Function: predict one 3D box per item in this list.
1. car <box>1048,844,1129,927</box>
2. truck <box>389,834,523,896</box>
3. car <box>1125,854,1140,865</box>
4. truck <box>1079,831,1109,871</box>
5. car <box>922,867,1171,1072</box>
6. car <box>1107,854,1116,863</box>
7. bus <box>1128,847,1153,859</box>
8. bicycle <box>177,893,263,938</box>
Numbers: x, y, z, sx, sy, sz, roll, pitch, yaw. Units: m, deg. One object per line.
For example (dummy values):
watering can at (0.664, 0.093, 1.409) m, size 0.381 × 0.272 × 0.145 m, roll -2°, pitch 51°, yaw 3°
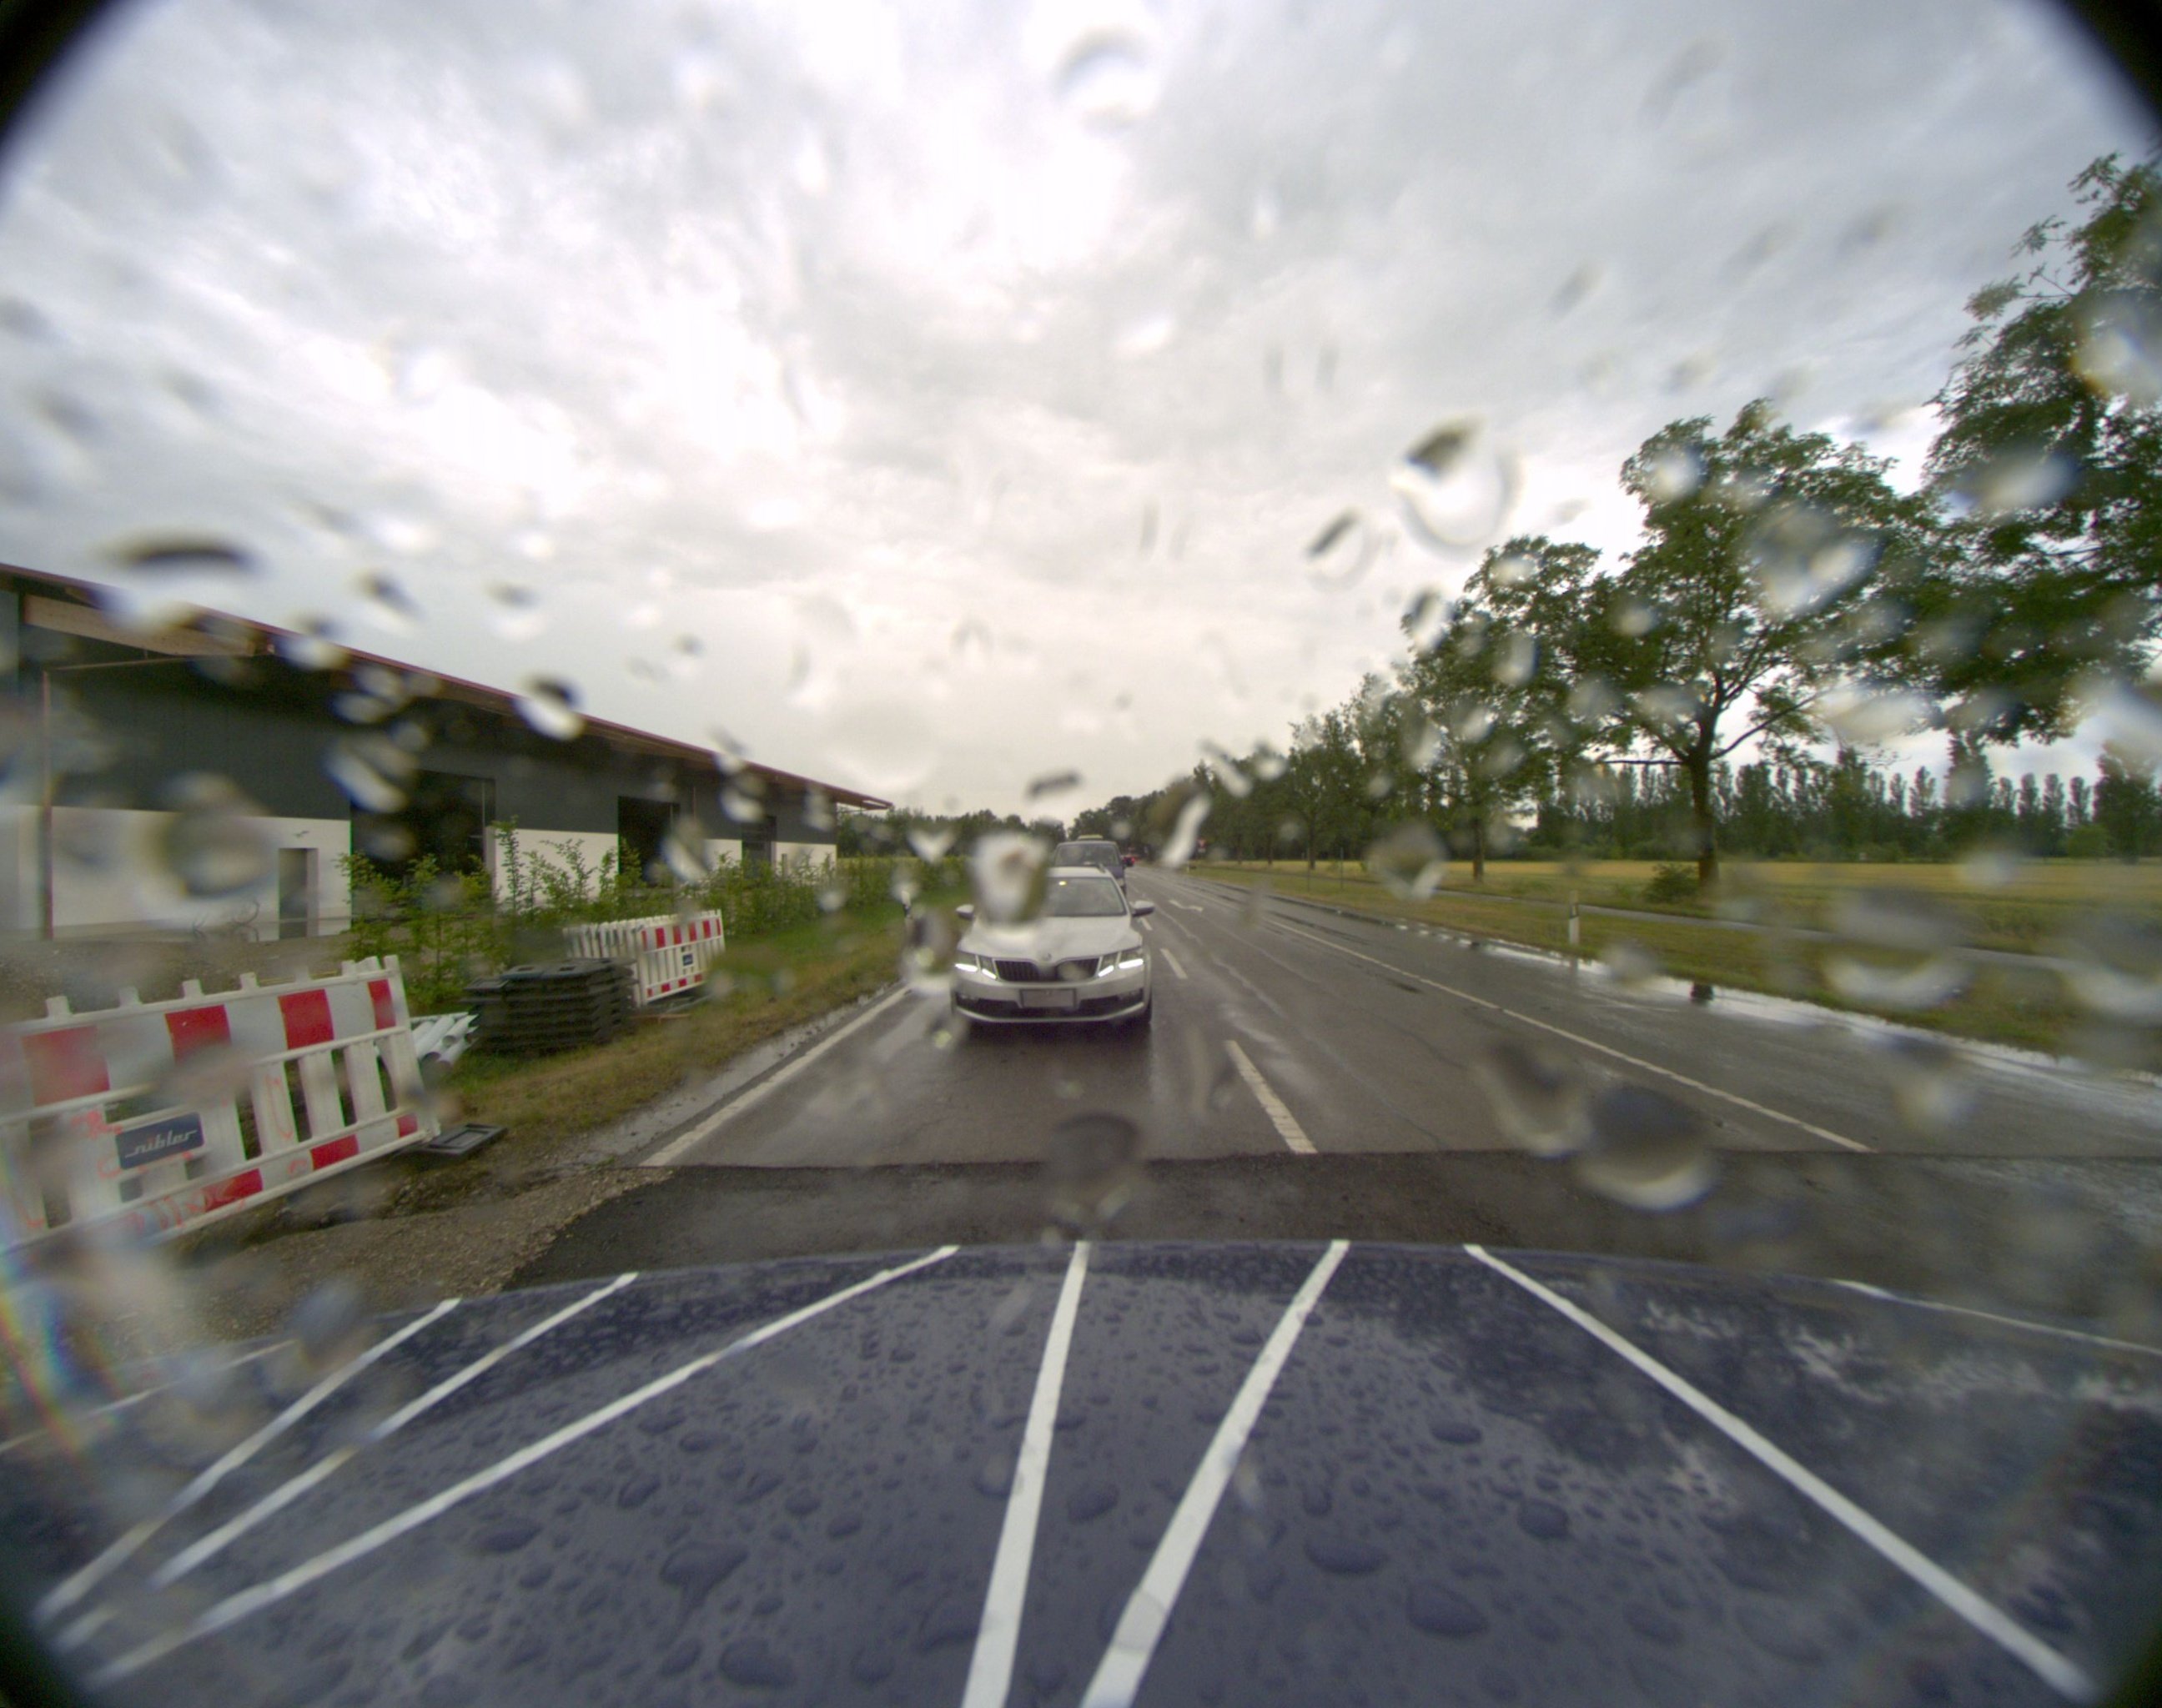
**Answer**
car at (0.207, 0.720, 19.821) m, size 1.892 × 1.939 × 4.000 m, roll 0°, pitch 0°, yaw 1°
truck at (-32.427, 0.521, 39.693) m, size 2.496 × 2.996 × 5.344 m, roll 0°, pitch 0°, yaw 1°
car at (6.881, 0.679, 101.028) m, size 1.724 × 1.396 × 4.043 m, roll 1°, pitch 0°, yaw 0°
truck at (1.360, -0.316, 80.962) m, size 2.931 × 3.828 × 14.120 m, roll 0°, pitch 0°, yaw 1°
car at (-0.232, 0.925, 8.072) m, size 1.843 × 1.379 × 4.569 m, roll -2°, pitch 1°, yaw 1°
car at (5.866, 0.764, 145.460) m, size 1.708 × 1.661 × 4.156 m, roll 1°, pitch 0°, yaw 2°
bus at (15.013, -0.350, 190.779) m, size 2.953 × 2.895 × 12.493 m, roll 1°, pitch 1°, yaw 20°
bicycle at (-23.119, 1.627, 20.452) m, size 0.391 × 1.066 × 1.661 m, roll 0°, pitch 0°, yaw 1°
